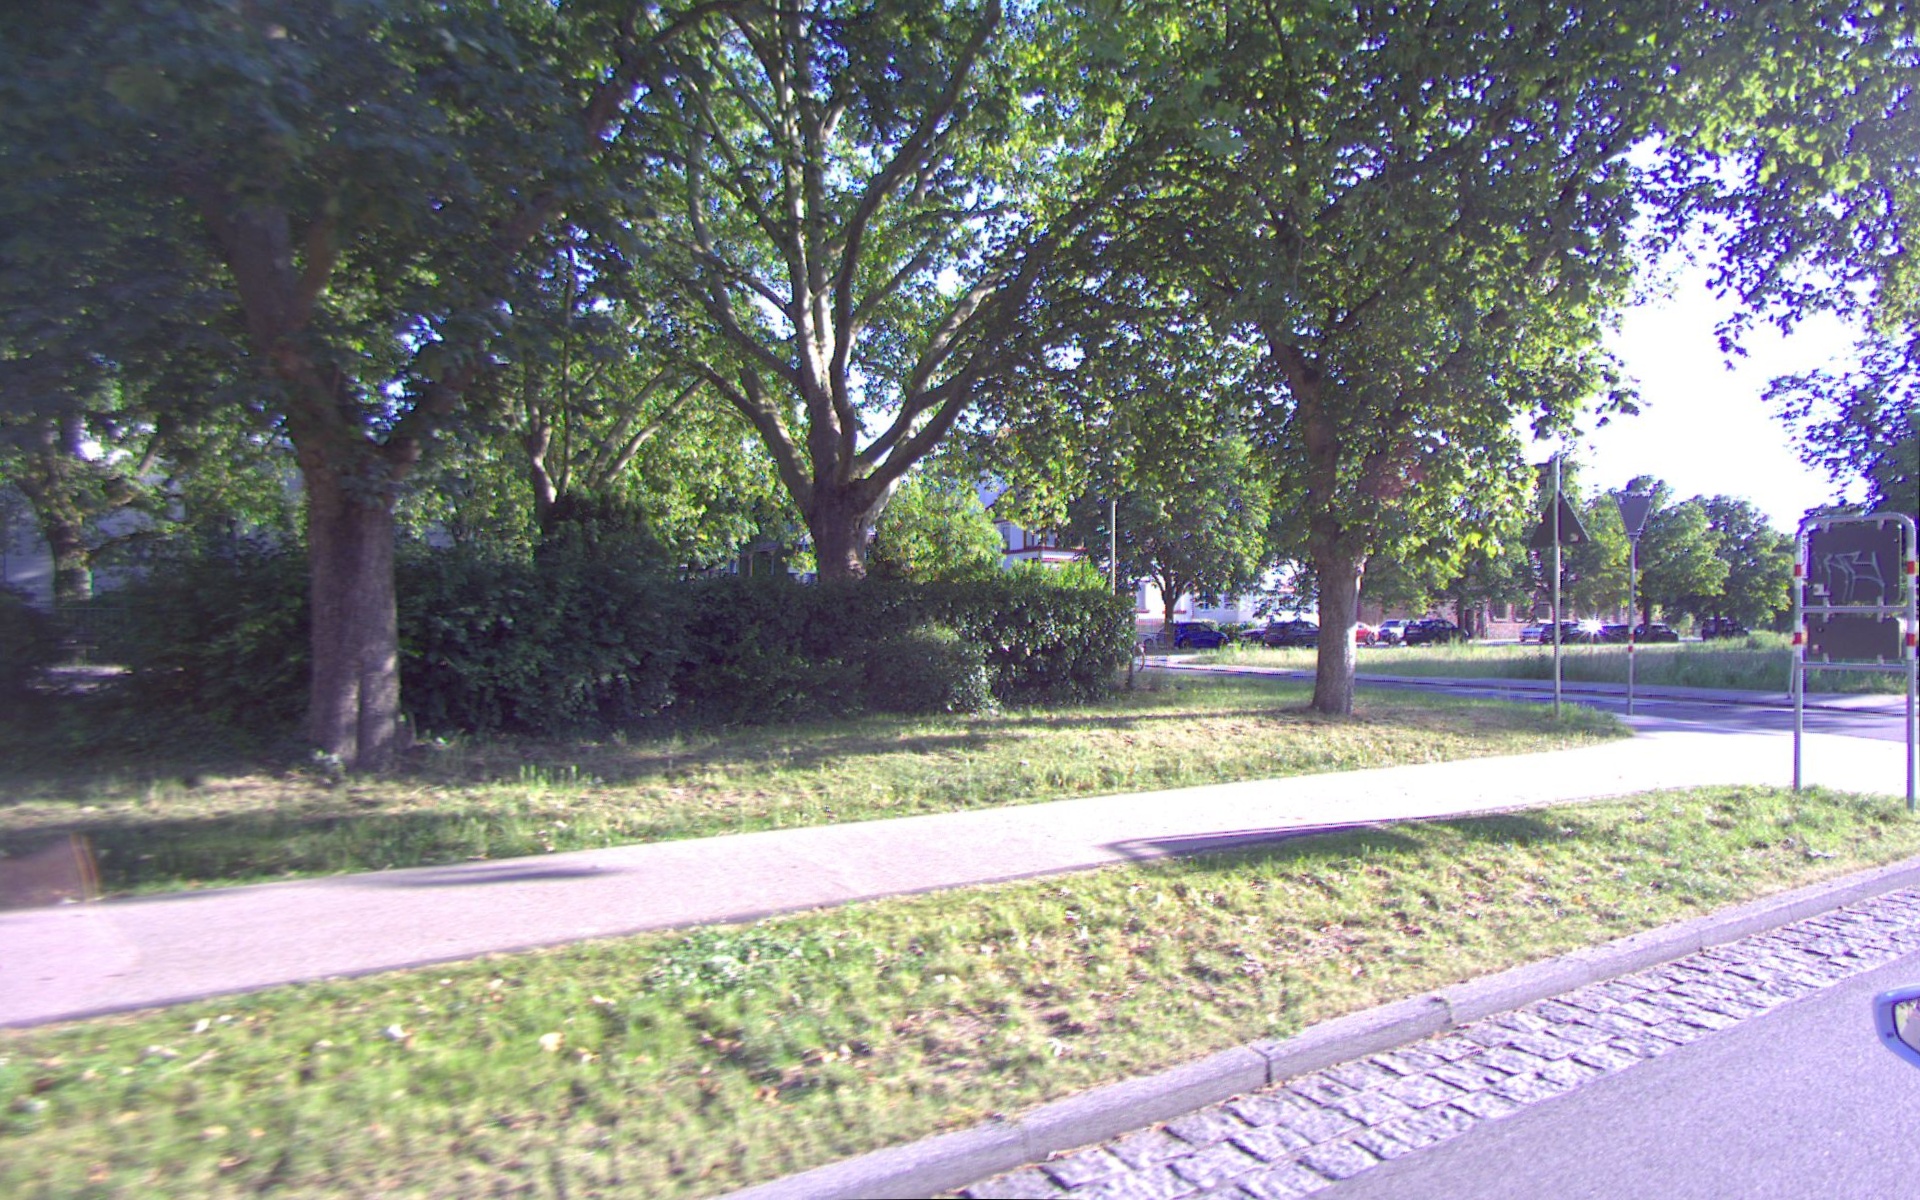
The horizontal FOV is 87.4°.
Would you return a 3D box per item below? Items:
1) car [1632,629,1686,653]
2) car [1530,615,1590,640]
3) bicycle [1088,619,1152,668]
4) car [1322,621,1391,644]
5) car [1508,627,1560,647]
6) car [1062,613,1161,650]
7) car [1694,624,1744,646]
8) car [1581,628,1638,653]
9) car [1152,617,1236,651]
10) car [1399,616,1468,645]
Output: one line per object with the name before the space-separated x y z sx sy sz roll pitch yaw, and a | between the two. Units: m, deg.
car | 50.626 2.964 72.722 4.173 1.619 1.684 1 -1 -31
car | 40.003 1.841 66.909 4.173 1.619 1.684 1 -1 -31
bicycle | 4.012 1.079 25.230 1.564 1.202 0.418 0 -1 38
car | 25.001 2.035 63.302 4.424 1.350 1.563 1 0 -29
car | 42.494 2.700 74.344 3.953 1.424 1.621 1 -1 -31
car | 7.109 1.460 46.938 4.706 1.619 1.682 1 -1 -33
car | 58.881 2.703 77.908 4.173 1.619 1.684 1 -1 -31
car | 45.037 2.788 69.664 4.173 1.619 1.684 1 -1 -31
car | 11.562 1.657 49.558 4.176 1.619 1.682 1 -1 -33
car | 27.894 1.799 59.142 4.173 1.619 1.684 1 -1 -31
